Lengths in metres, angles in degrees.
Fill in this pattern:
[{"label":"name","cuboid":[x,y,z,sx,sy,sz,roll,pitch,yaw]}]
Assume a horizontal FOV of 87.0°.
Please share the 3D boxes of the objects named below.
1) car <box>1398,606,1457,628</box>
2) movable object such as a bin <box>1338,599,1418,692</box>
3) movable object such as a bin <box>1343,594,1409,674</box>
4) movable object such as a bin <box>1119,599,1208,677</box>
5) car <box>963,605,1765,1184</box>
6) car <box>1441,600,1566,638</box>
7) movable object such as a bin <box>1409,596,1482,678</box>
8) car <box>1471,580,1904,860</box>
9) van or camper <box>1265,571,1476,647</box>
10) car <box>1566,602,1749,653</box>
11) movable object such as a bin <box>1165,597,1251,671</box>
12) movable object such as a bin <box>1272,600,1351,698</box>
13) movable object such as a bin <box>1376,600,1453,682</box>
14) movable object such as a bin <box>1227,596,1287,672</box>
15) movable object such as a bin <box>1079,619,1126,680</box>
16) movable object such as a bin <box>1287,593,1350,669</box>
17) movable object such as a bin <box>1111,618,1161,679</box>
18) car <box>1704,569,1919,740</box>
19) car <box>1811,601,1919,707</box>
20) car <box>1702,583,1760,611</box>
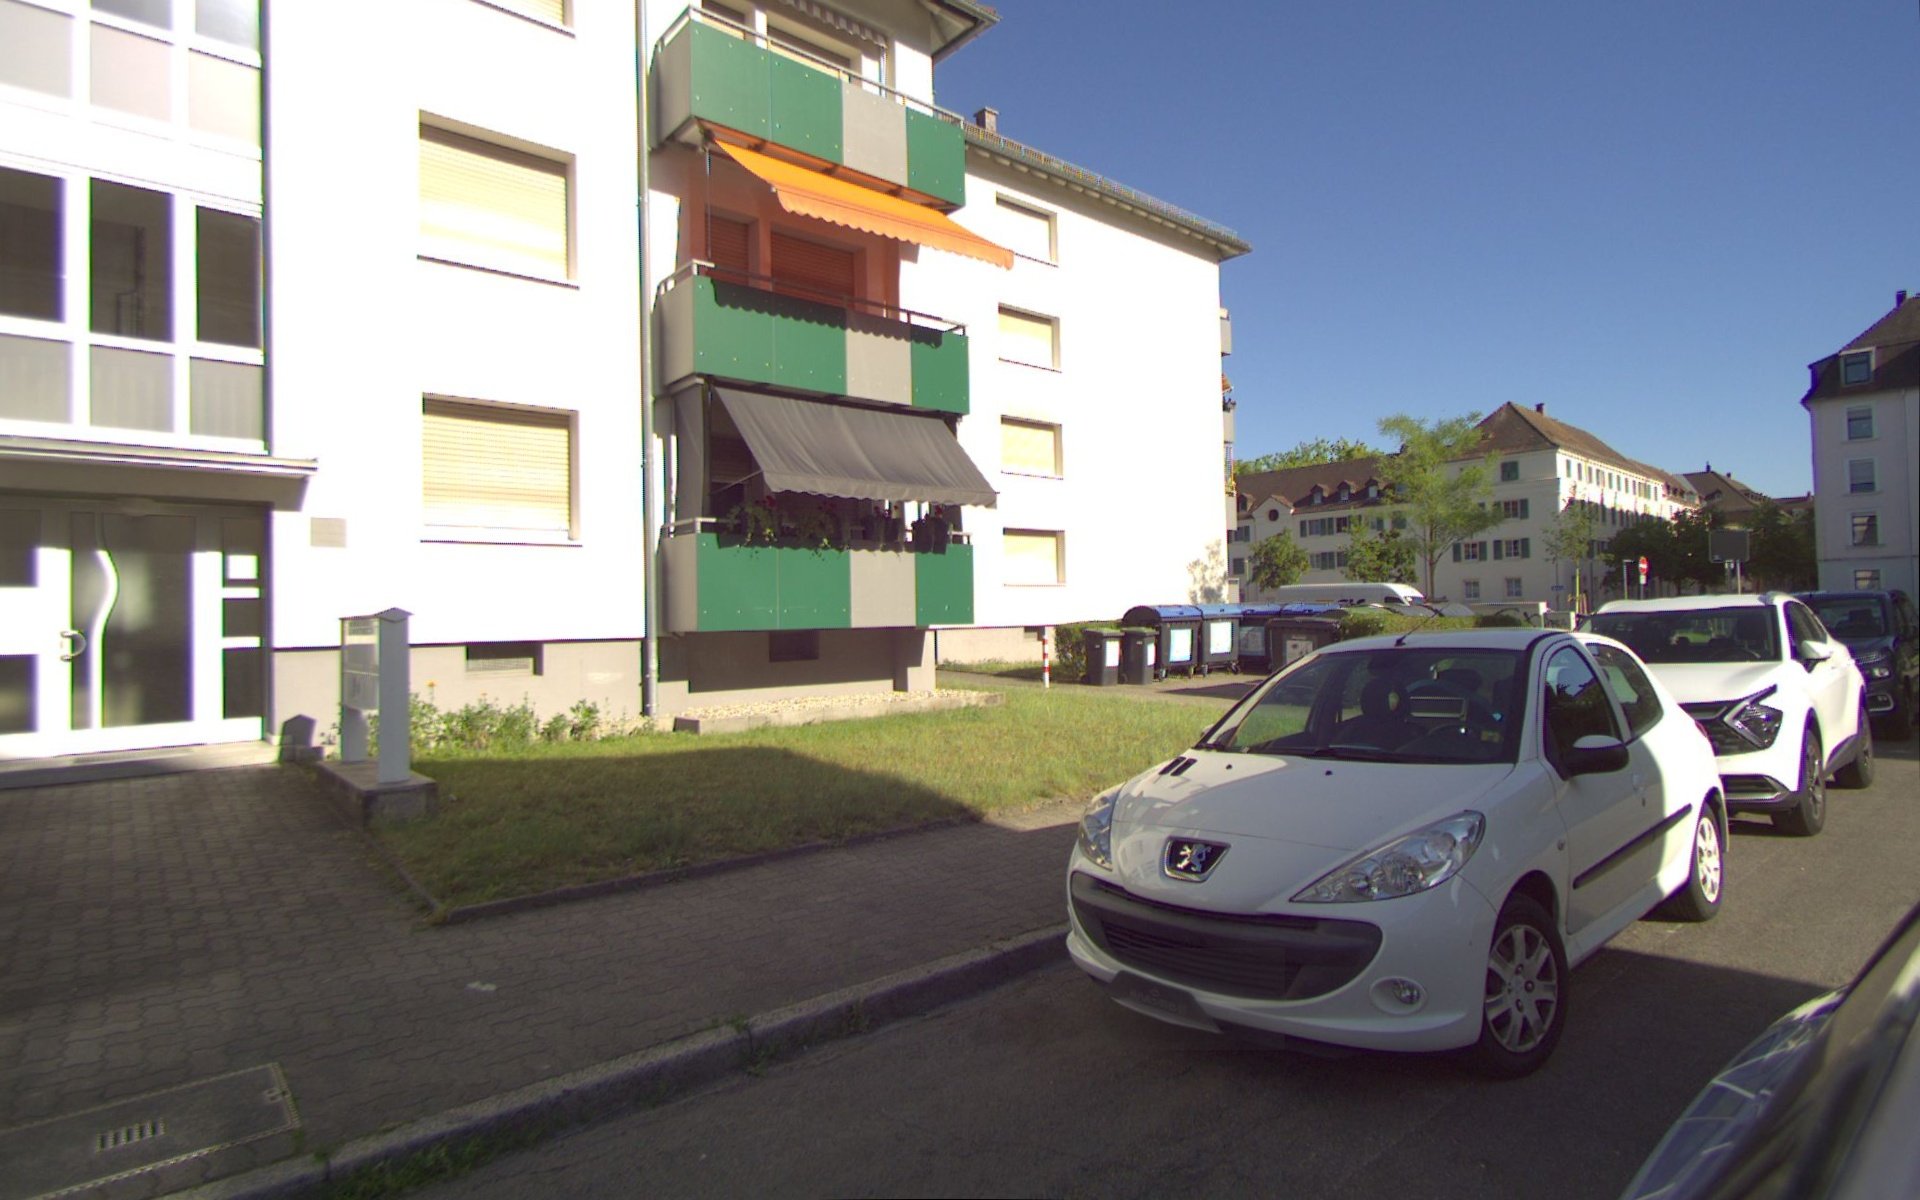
[{"label":"car","cuboid":[37.450,1.336,81.170,1.619,1.661,3.992,0,-1,-41]},{"label":"movable object such as a bin","cuboid":[6.829,0.724,16.542,0.852,1.466,0.920,0,-1,-42]},{"label":"movable object such as a bin","cuboid":[7.938,0.629,19.302,0.907,1.466,0.864,0,-1,-45]},{"label":"movable object such as a bin","cuboid":[4.019,0.715,20.009,1.257,1.466,1.237,0,-1,-43]},{"label":"car","cuboid":[2.092,0.803,4.579,4.027,1.437,1.692,0,-3,-42]},{"label":"car","cuboid":[20.822,0.708,38.902,1.494,1.367,3.996,0,0,-38]},{"label":"movable object such as a bin","cuboid":[8.684,0.646,18.108,0.852,1.416,0.920,0,-1,-42]},{"label":"car","cuboid":[5.947,0.723,8.037,4.502,1.613,1.802,0,-3,-42]},{"label":"van or camper","cuboid":[14.779,0.310,36.977,2.137,2.532,6.979,0,0,-38]},{"label":"car","cuboid":[19.939,0.743,29.060,1.769,1.367,3.996,0,0,-38]},{"label":"movable object such as a bin","cuboid":[5.111,0.675,20.862,1.257,1.466,1.237,0,-1,-43]},{"label":"movable object such as a bin","cuboid":[5.533,0.743,15.931,0.907,1.466,0.864,0,-1,-45]},{"label":"movable object such as a bin","cuboid":[7.774,0.678,17.317,0.852,1.342,0.920,0,-1,-42]},{"label":"movable object such as a bin","cuboid":[6.246,0.692,21.275,0.906,1.539,0.865,0,-1,-42]},{"label":"movable object such as a bin","cuboid":[2.642,0.905,18.807,0.570,1.066,0.627,0,2,-43]},{"label":"movable object such as a bin","cuboid":[7.113,0.594,20.055,0.907,1.466,0.864,0,-1,-45]},{"label":"movable object such as a bin","cuboid":[3.312,0.900,19.099,0.570,1.066,0.717,0,2,-43]},{"label":"car","cuboid":[11.168,0.639,12.827,4.180,1.824,1.852,0,-5,-42]},{"label":"car","cuboid":[15.331,0.814,16.456,3.885,1.557,1.725,0,-4,-43]},{"label":"car","cuboid":[40.476,-0.138,53.218,1.656,1.394,3.766,-1,0,26]}]
